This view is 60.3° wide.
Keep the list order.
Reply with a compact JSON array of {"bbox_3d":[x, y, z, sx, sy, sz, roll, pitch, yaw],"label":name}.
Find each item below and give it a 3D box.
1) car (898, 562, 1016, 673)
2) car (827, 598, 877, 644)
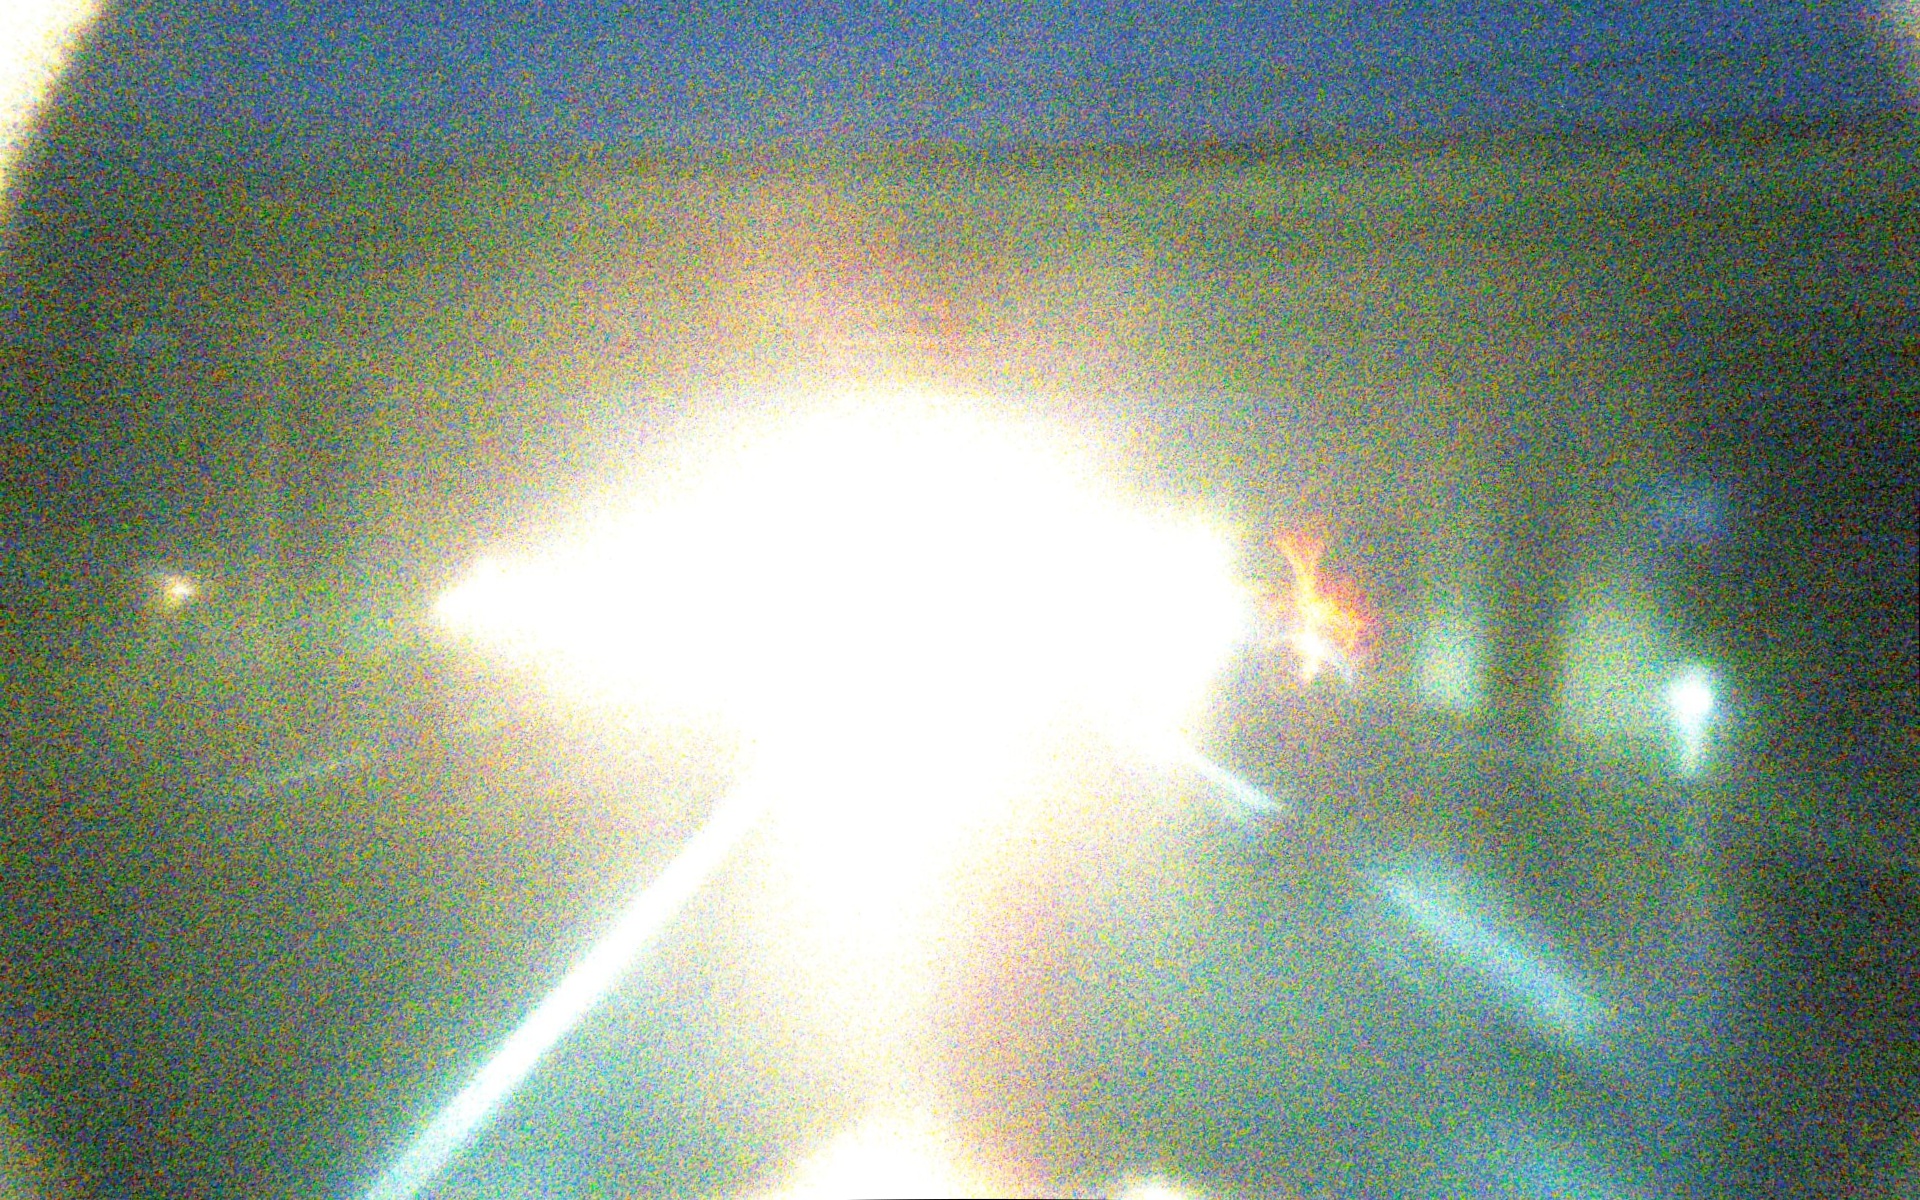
[{"bbox_3d":[-0.067,0.270,27.129,1.772,1.650,3.999,1,0,-1],"label":"car"},{"bbox_3d":[-4.244,0.803,64.925,1.862,1.673,3.788,2,0,-4],"label":"car"}]
